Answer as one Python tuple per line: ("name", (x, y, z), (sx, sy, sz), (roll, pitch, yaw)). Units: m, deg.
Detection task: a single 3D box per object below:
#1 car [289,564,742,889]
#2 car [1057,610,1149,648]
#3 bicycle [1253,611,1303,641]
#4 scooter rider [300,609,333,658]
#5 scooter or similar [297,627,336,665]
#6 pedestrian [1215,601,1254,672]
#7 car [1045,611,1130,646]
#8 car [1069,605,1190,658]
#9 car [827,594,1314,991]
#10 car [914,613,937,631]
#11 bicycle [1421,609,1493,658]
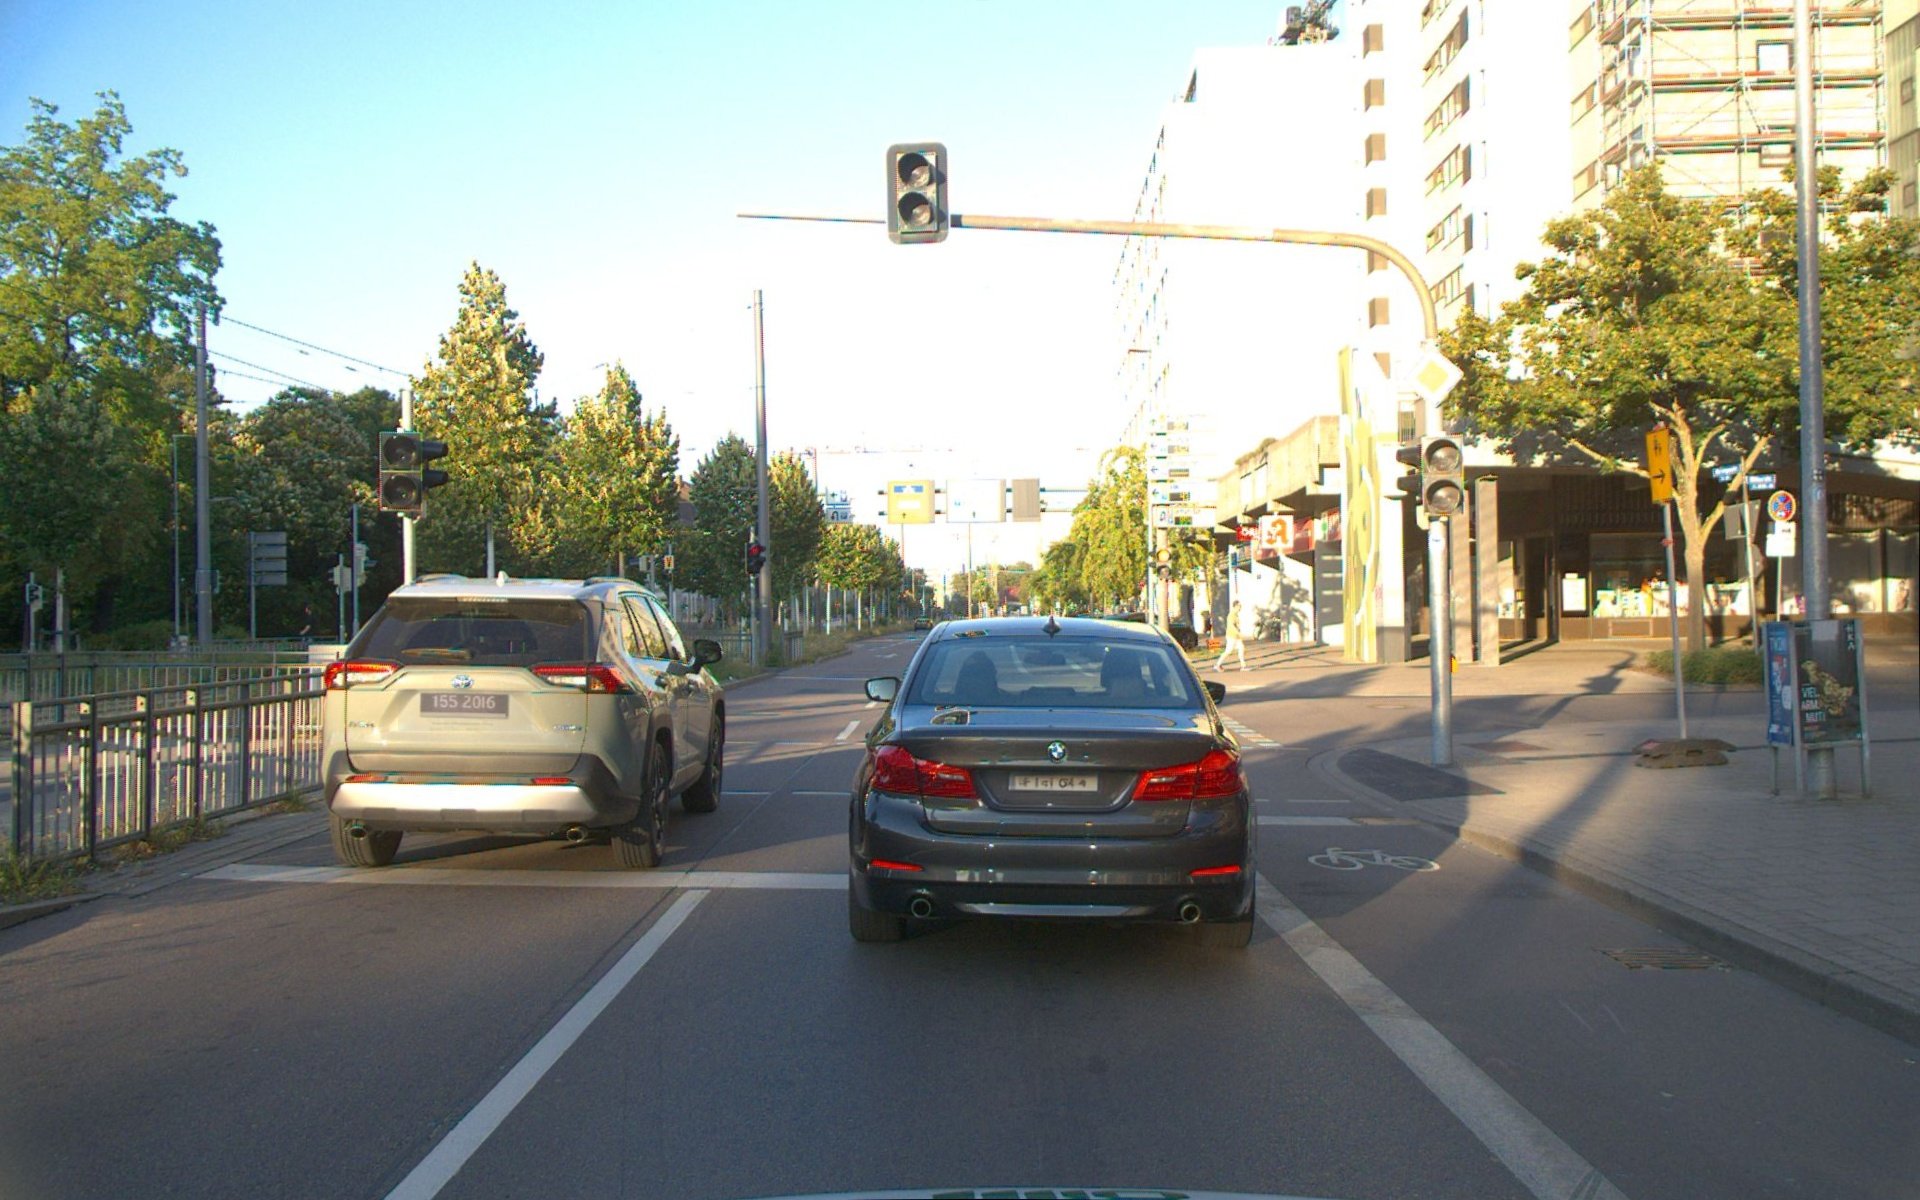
("car", (-2.604, 0.637, 10.778), (1.816, 1.687, 4.268), (0, 1, 0))
("car", (6.833, 1.362, 78.822), (4.221, 1.687, 1.837), (0, 1, -36))
("bicycle", (13.246, 1.075, 68.870), (1.974, 1.169, 0.691), (2, -2, 6))
("scooter rider", (-20.860, 1.084, 53.633), (0.637, 1.541, 0.824), (-1, -1, 11))
("scooter or similar", (-20.847, 1.478, 53.597), (0.501, 1.173, 1.335), (-1, -1, 11))
("pedestrian", (6.856, 0.906, 41.313), (0.818, 1.742, 0.647), (-1, -1, -2))
("car", (6.558, 1.444, 84.959), (4.220, 1.687, 1.837), (0, 1, -36))
("car", (5.806, 1.031, 56.445), (4.234, 1.687, 1.831), (0, 1, -43))
("car", (0.418, 0.743, 8.705), (1.892, 1.507, 4.522), (0, 1, 0))
("car", (-3.047, 1.960, 146.518), (1.938, 1.458, 4.842), (0, 1, 0))
("bicycle", (12.370, 0.840, 41.229), (0.678, 1.169, 2.012), (2, -2, -19))
